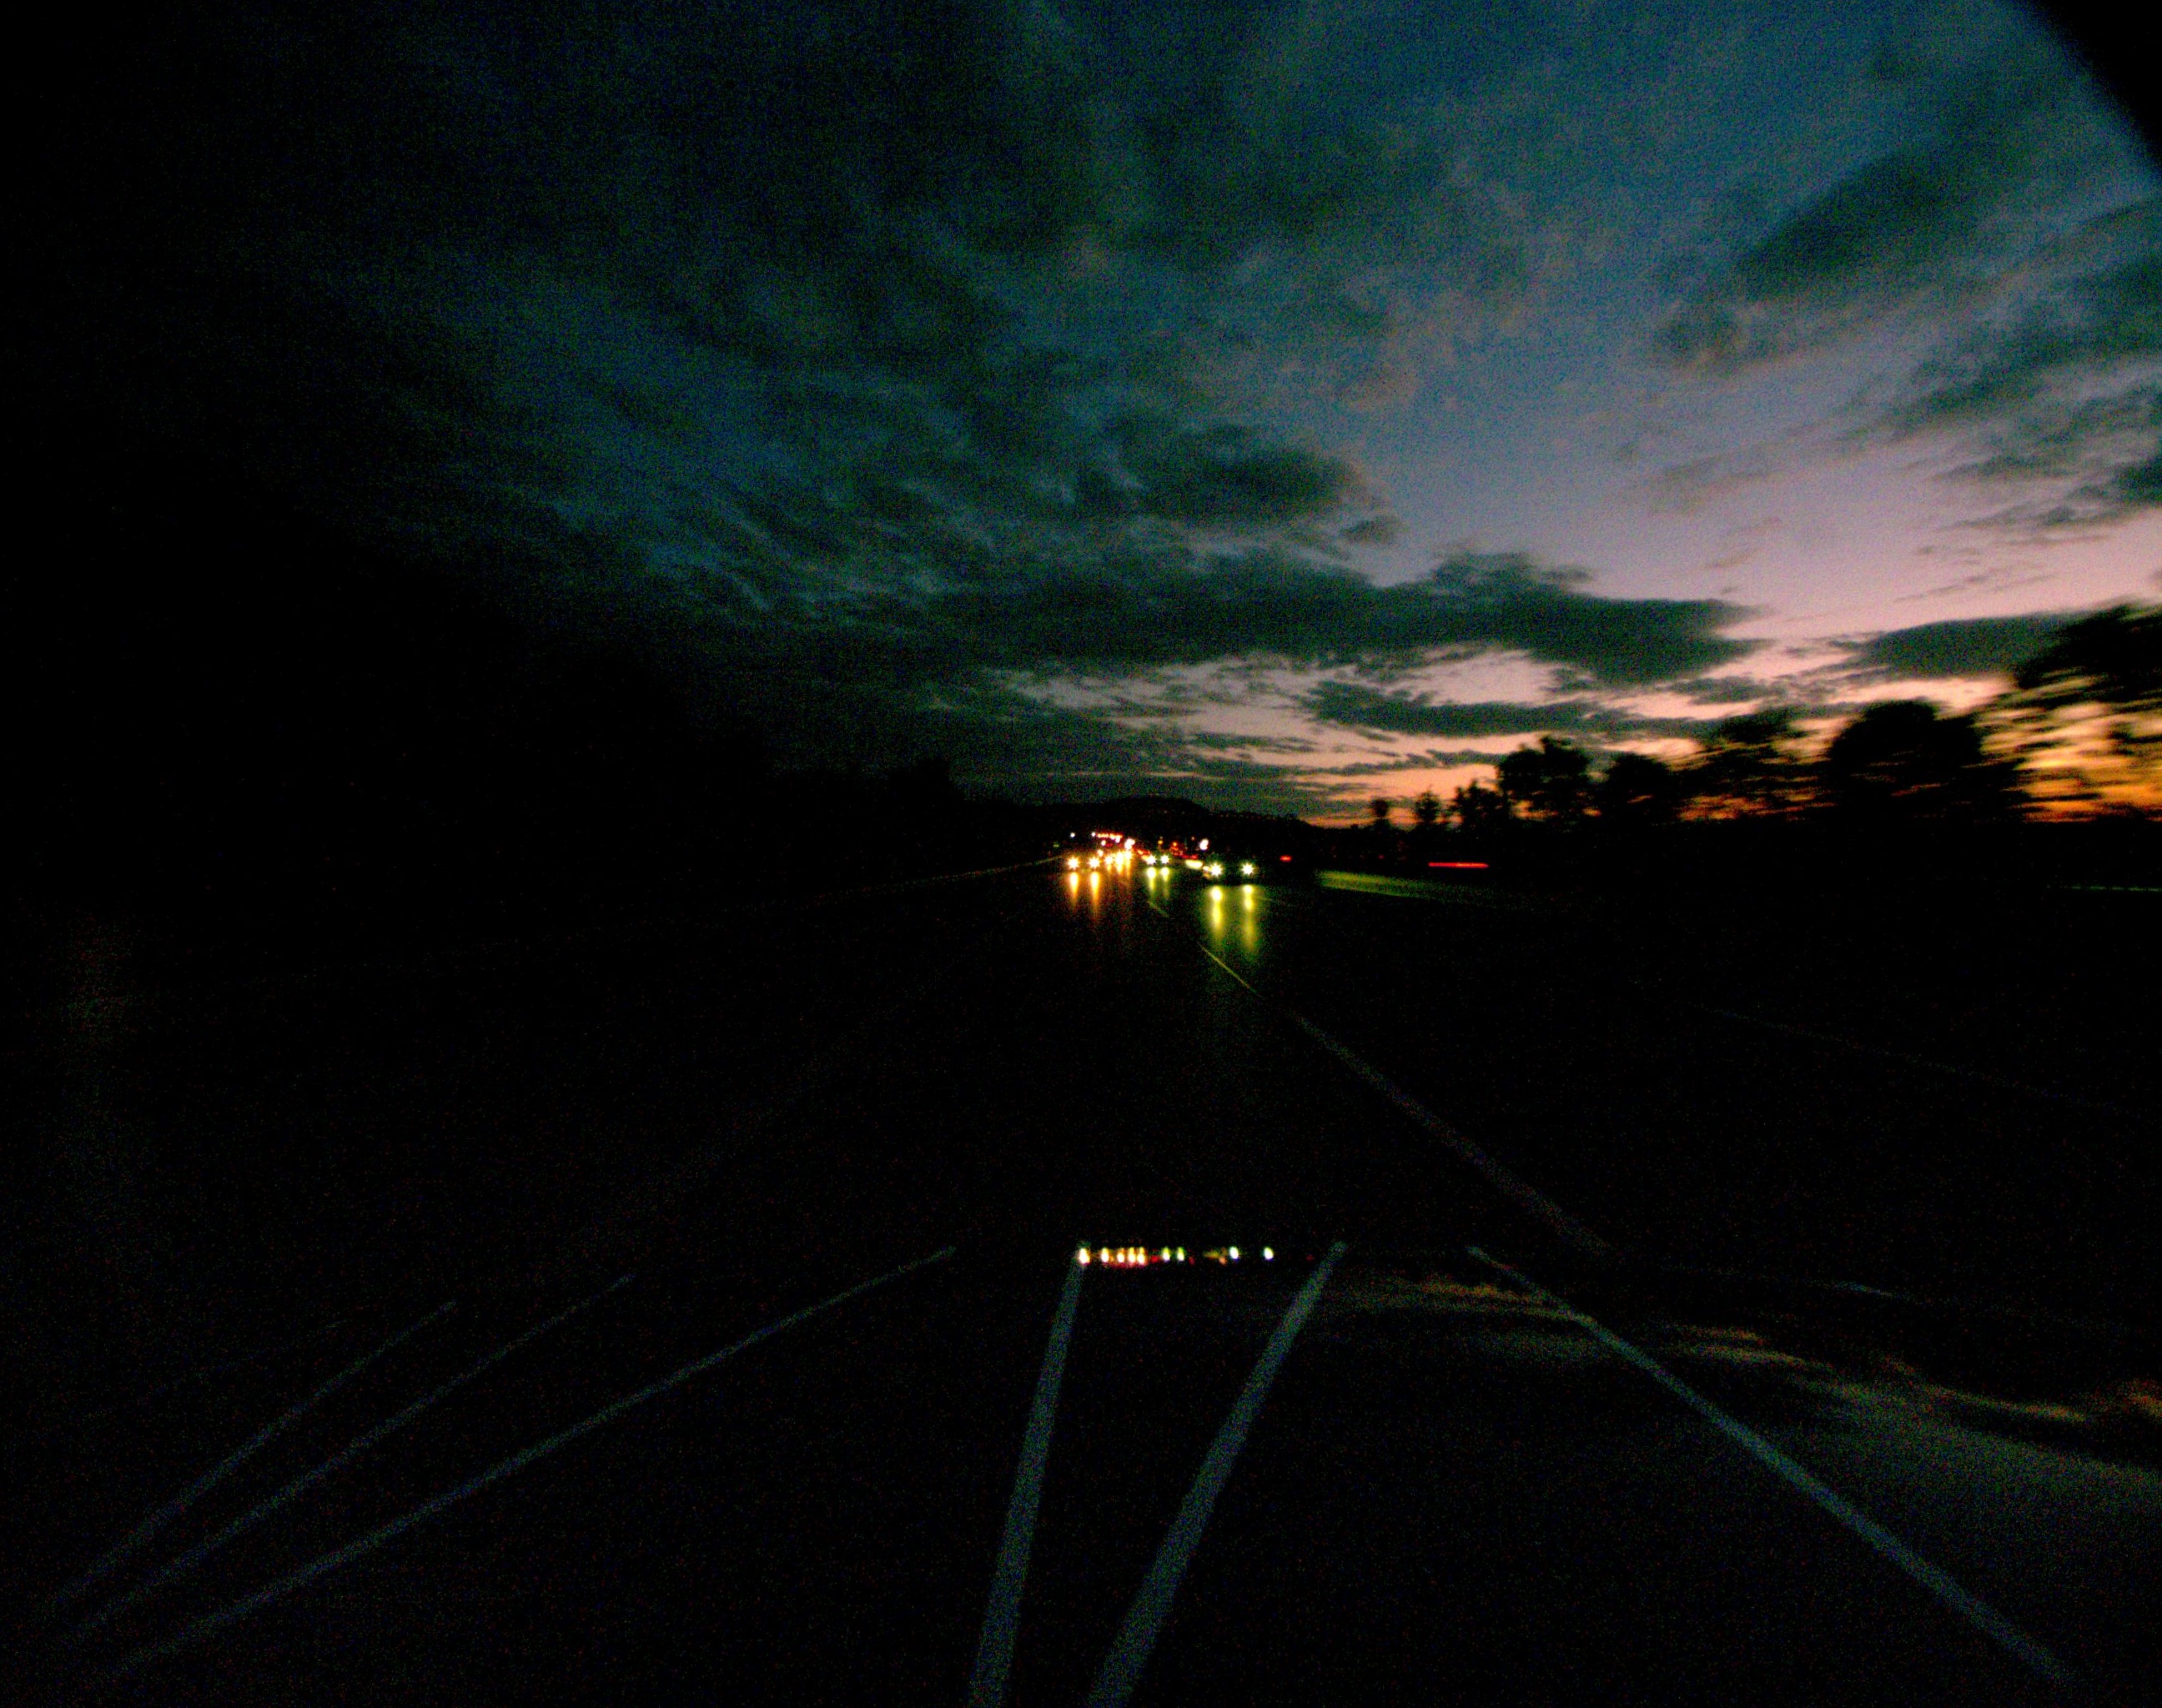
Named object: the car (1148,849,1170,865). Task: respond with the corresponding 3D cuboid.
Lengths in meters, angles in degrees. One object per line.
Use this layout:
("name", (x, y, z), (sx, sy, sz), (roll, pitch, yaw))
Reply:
("car", (8.348, 0.300, 81.974), (1.819, 1.638, 4.856), (-2, 1, 0))

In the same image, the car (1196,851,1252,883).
("car", (7.206, 0.603, 38.720), (1.819, 1.429, 5.394), (-2, 1, 0))

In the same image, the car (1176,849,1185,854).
("car", (25.811, -0.753, 197.414), (1.722, 1.171, 3.999), (-2, 1, 1))

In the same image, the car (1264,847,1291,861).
("car", (20.399, -0.012, 78.973), (1.748, 1.354, 4.111), (-2, 1, 1))

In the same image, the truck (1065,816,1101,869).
("truck", (0.264, -0.999, 73.617), (3.012, 4.570, 12.577), (-2, 0, 1))

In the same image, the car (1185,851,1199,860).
("car", (17.127, 0.249, 117.334), (1.707, 1.241, 3.999), (-2, 1, 1))

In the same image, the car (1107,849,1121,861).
("car", (4.482, 0.160, 103.430), (1.802, 1.531, 4.158), (-2, 1, 1))

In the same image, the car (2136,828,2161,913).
("car", (19.434, 0.287, 11.197), (1.864, 1.445, 4.274), (-2, 1, 1))

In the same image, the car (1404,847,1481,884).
("car", (16.867, 0.509, 35.678), (1.737, 1.537, 3.999), (-2, 1, 1))
